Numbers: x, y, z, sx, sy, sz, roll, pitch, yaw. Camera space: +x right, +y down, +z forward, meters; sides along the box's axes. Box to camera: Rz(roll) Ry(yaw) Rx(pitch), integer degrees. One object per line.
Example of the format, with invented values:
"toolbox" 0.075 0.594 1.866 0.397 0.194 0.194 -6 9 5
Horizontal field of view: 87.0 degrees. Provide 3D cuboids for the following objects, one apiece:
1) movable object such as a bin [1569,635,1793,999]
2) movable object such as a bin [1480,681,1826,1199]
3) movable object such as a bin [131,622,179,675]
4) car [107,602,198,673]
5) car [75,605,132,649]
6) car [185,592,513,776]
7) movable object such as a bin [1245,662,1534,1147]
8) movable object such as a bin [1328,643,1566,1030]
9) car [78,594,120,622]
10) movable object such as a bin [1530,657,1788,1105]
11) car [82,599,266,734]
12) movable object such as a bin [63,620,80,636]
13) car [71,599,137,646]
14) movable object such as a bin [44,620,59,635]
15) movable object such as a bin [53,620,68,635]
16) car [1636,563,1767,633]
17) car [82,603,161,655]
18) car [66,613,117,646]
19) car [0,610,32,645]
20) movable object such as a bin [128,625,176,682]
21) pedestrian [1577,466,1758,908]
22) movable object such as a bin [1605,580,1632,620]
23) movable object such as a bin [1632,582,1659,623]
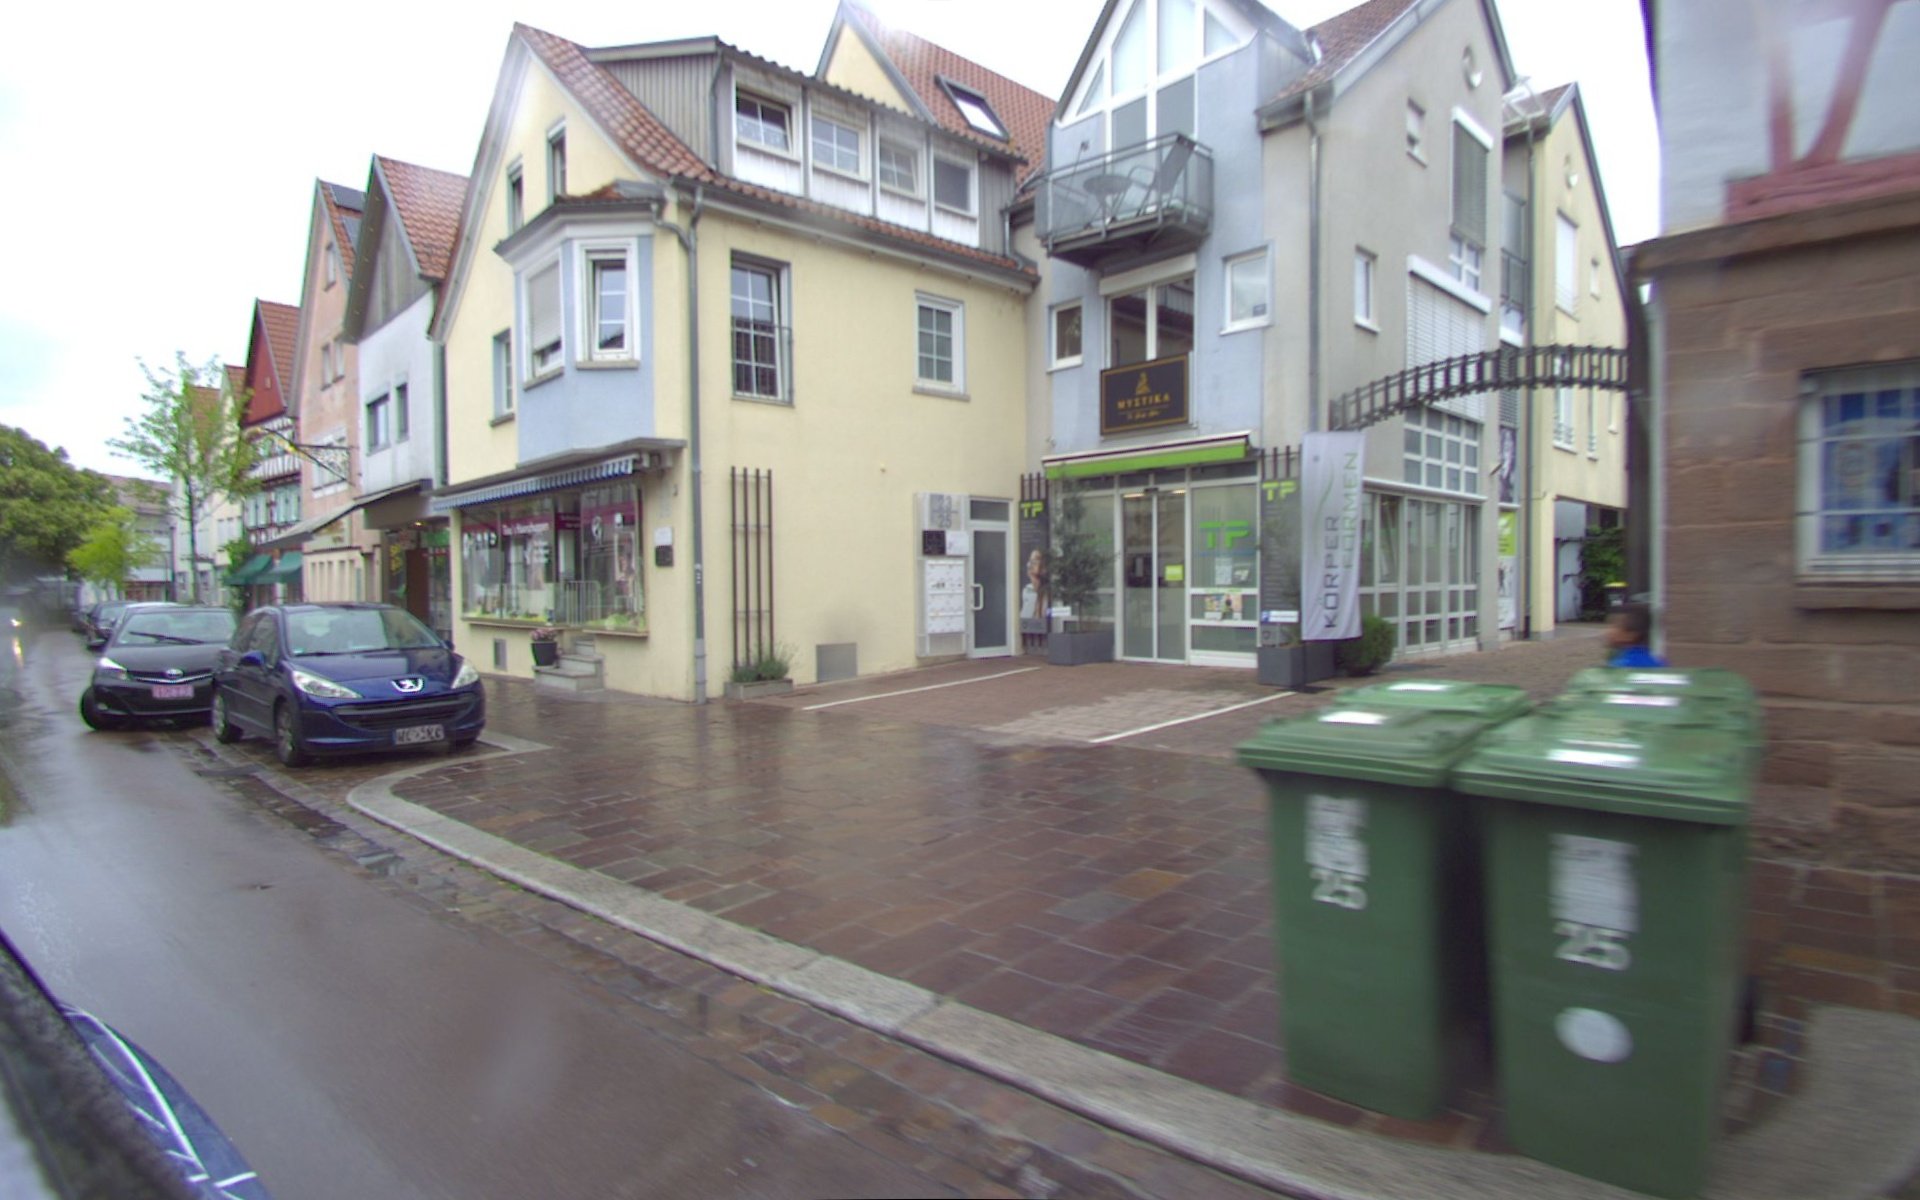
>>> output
"movable object such as a bin" 2.644 0.717 3.708 0.615 1.118 0.653 1 2 40
"movable object such as a bin" 1.757 0.818 2.560 0.644 1.118 0.718 1 2 40
"movable object such as a bin" -17.793 1.066 22.383 0.777 1.093 0.694 -3 0 -39
"car" -21.095 0.899 26.389 1.671 1.549 4.128 -3 3 -40
"car" -37.514 1.148 44.333 1.802 1.678 4.650 -3 2 -41
"car" -6.395 0.747 10.421 3.942 1.485 1.738 -2 1 41
"movable object such as a bin" 1.274 0.785 2.971 0.596 1.118 0.718 1 2 40
"movable object such as a bin" 1.726 0.746 3.564 0.596 1.118 0.718 1 2 40
"car" -52.149 0.471 61.362 1.839 1.536 4.335 -4 2 -40
"movable object such as a bin" 2.197 0.780 3.169 0.596 1.118 0.718 1 2 40
"car" -10.474 0.798 13.382 1.671 1.454 3.890 -3 0 -41
"movable object such as a bin" -65.718 2.054 74.880 0.715 1.091 0.607 -2 2 -18
"car" -33.142 0.840 39.159 1.802 1.678 4.649 -3 1 -41
"movable object such as a bin" -67.060 2.039 74.692 0.530 1.139 0.729 0 -1 -12
"movable object such as a bin" -66.470 2.038 74.807 0.530 1.151 0.729 0 -1 -12
"car" 17.214 -0.104 23.426 3.720 1.463 1.866 -3 3 -44
"car" -28.402 0.990 34.243 1.759 1.549 4.294 -4 1 -43
"car" -45.029 1.485 52.539 1.839 1.536 4.335 -4 2 -40
"car" -45.117 1.341 47.838 1.759 1.549 4.294 -4 1 -43
"movable object such as a bin" -16.312 1.071 20.436 0.700 1.060 0.705 -2 2 -41
"pedestrian" 3.014 0.331 4.315 0.578 1.723 0.513 1 2 41
"movable object such as a bin" 16.878 0.002 25.941 0.538 1.009 0.348 1 2 39
"movable object such as a bin" 17.457 0.054 25.783 0.538 1.009 0.348 1 2 39
